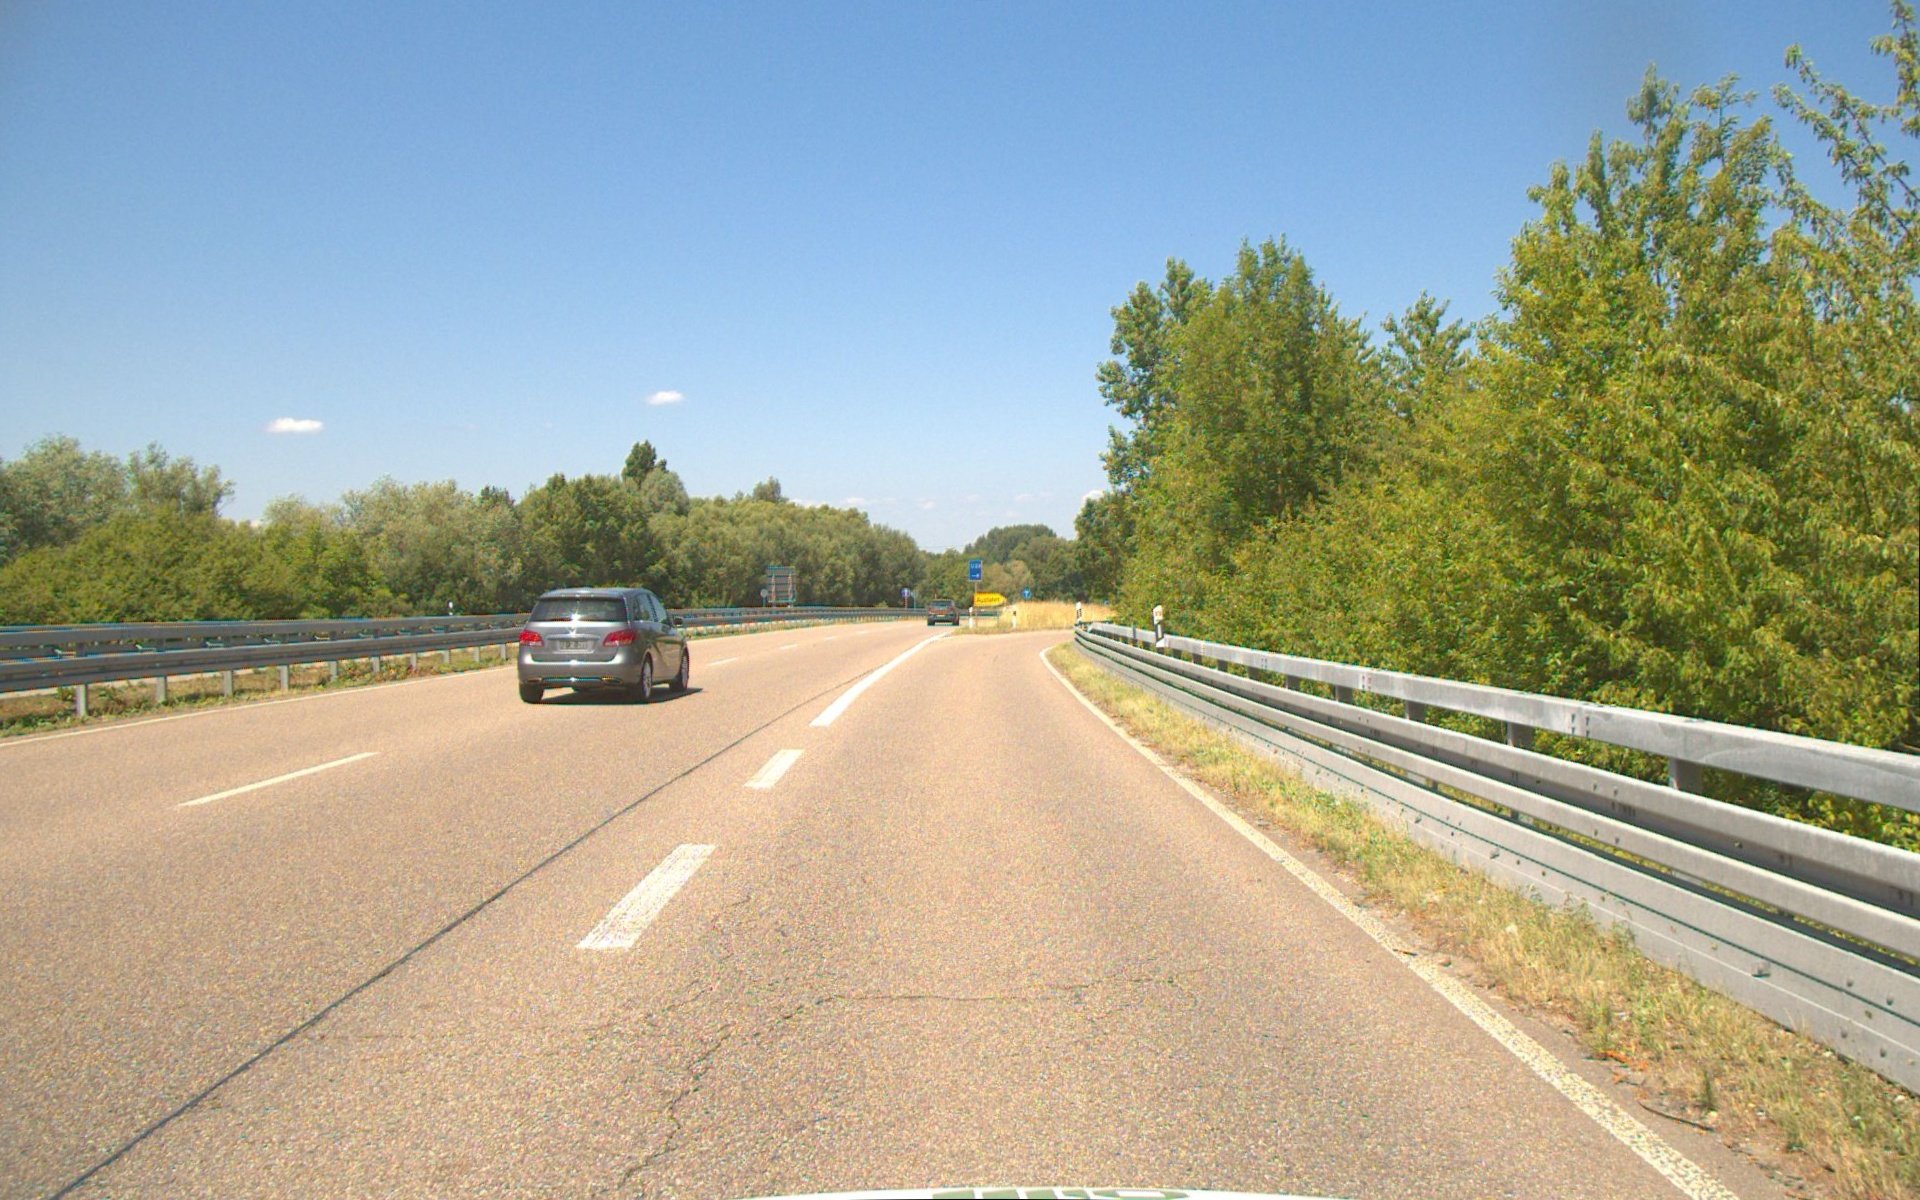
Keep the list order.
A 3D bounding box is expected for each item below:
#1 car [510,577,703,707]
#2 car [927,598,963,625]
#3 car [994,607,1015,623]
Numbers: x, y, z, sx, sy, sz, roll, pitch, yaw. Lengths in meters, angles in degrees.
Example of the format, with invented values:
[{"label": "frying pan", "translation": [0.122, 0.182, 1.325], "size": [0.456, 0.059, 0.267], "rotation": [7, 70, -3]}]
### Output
[{"label": "car", "translation": [-5.047, 0.526, 24.246], "size": [1.756, 1.697, 4.555], "rotation": [1, 1, 1]}, {"label": "car", "translation": [-0.917, 0.682, 101.386], "size": [1.802, 1.556, 4.472], "rotation": [1, 1, 4]}, {"label": "car", "translation": [4.556, 1.537, 168.558], "size": [1.802, 1.489, 4.003], "rotation": [1, 1, 6]}]
